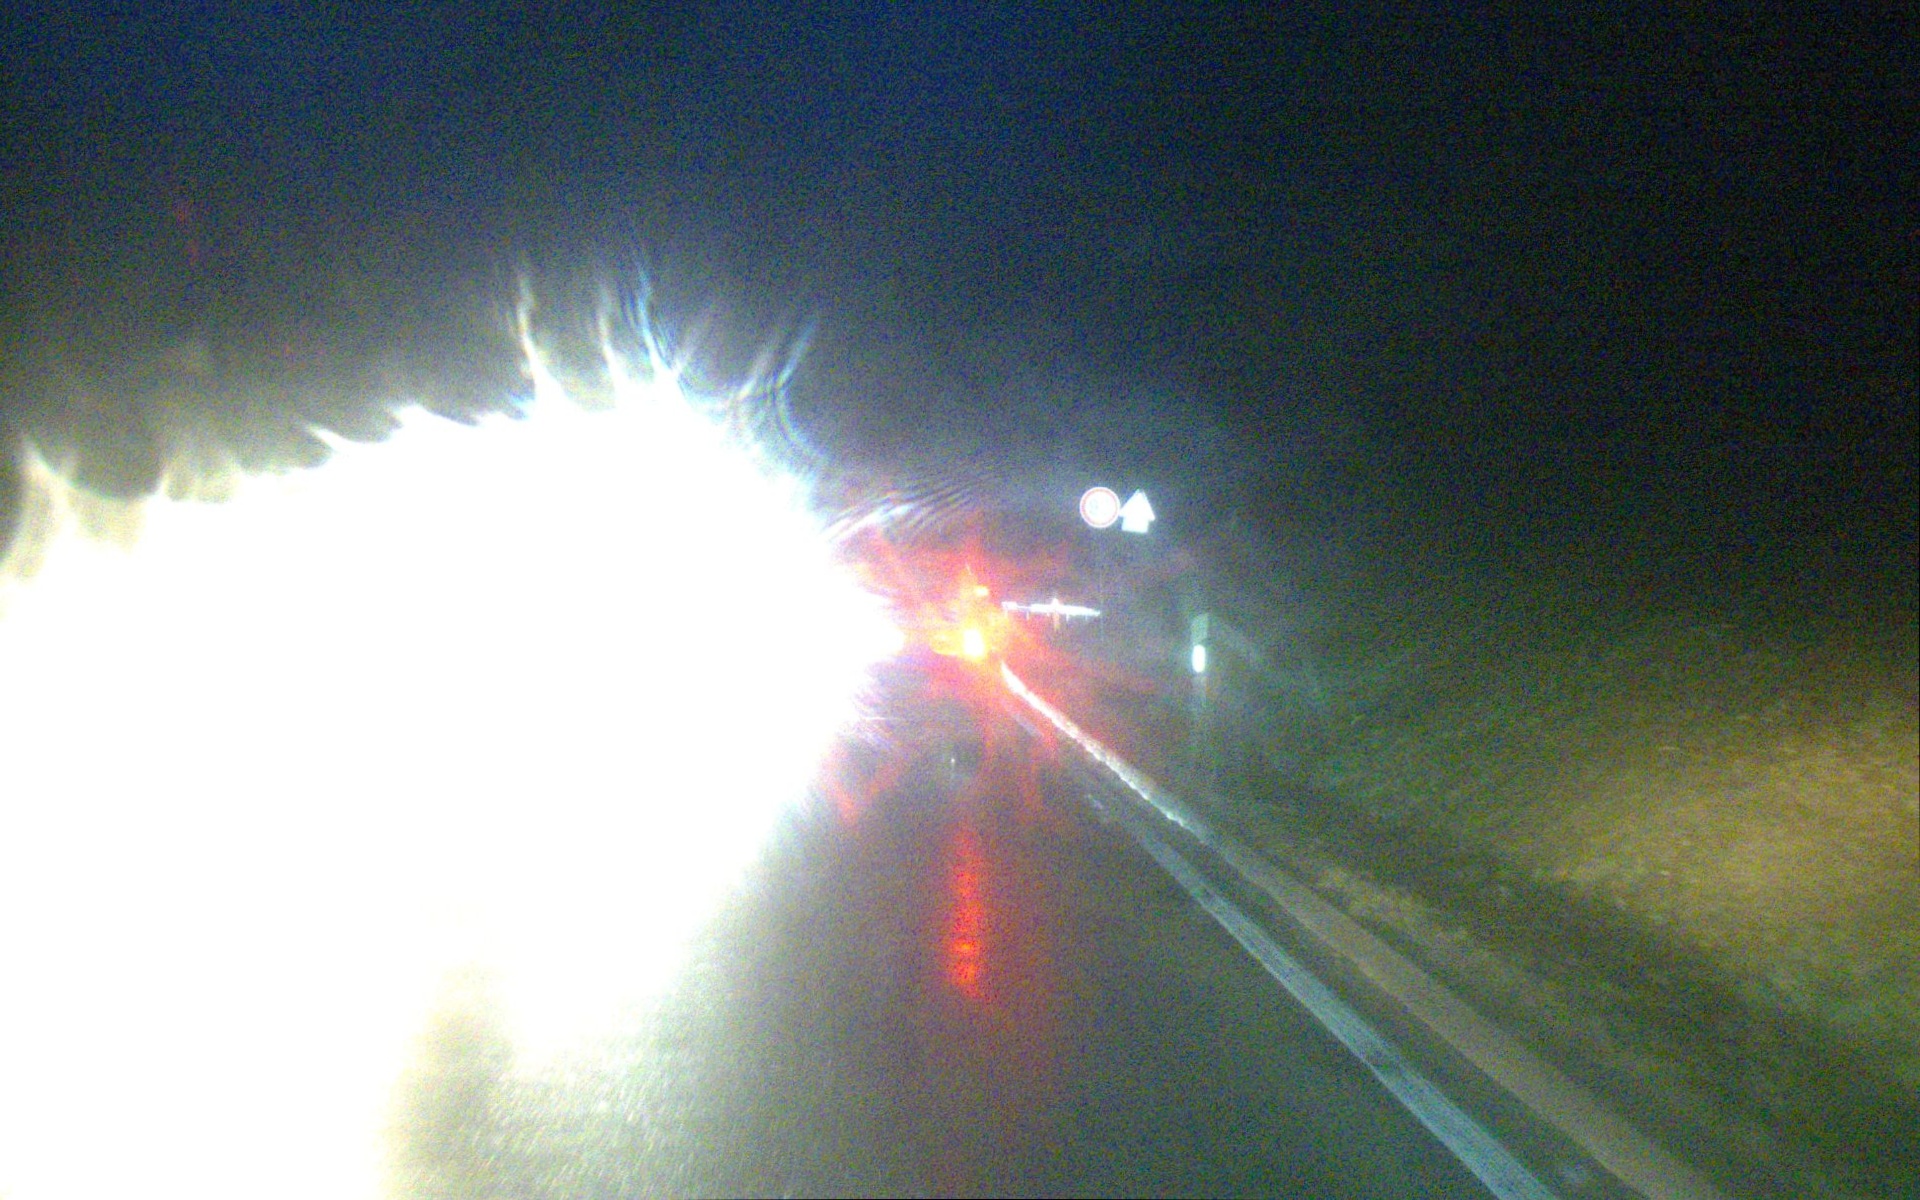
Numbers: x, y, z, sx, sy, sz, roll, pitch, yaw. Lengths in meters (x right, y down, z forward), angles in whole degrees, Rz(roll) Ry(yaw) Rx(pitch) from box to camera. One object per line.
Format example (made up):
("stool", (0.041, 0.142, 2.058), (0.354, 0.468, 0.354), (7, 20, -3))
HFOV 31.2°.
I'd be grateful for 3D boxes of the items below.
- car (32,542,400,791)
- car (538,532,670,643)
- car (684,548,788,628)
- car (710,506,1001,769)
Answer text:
("car", (-4.558, 0.364, 21.515), (1.598, 1.419, 3.552), (0, 1, -1))
("car", (-5.206, -0.212, 50.588), (1.662, 1.555, 3.561), (0, 1, -2))
("car", (-4.430, -0.262, 68.504), (1.755, 1.401, 4.488), (3, 2, -1))
("car", (-0.741, 0.236, 25.651), (1.993, 1.801, 3.917), (0, 1, -1))
